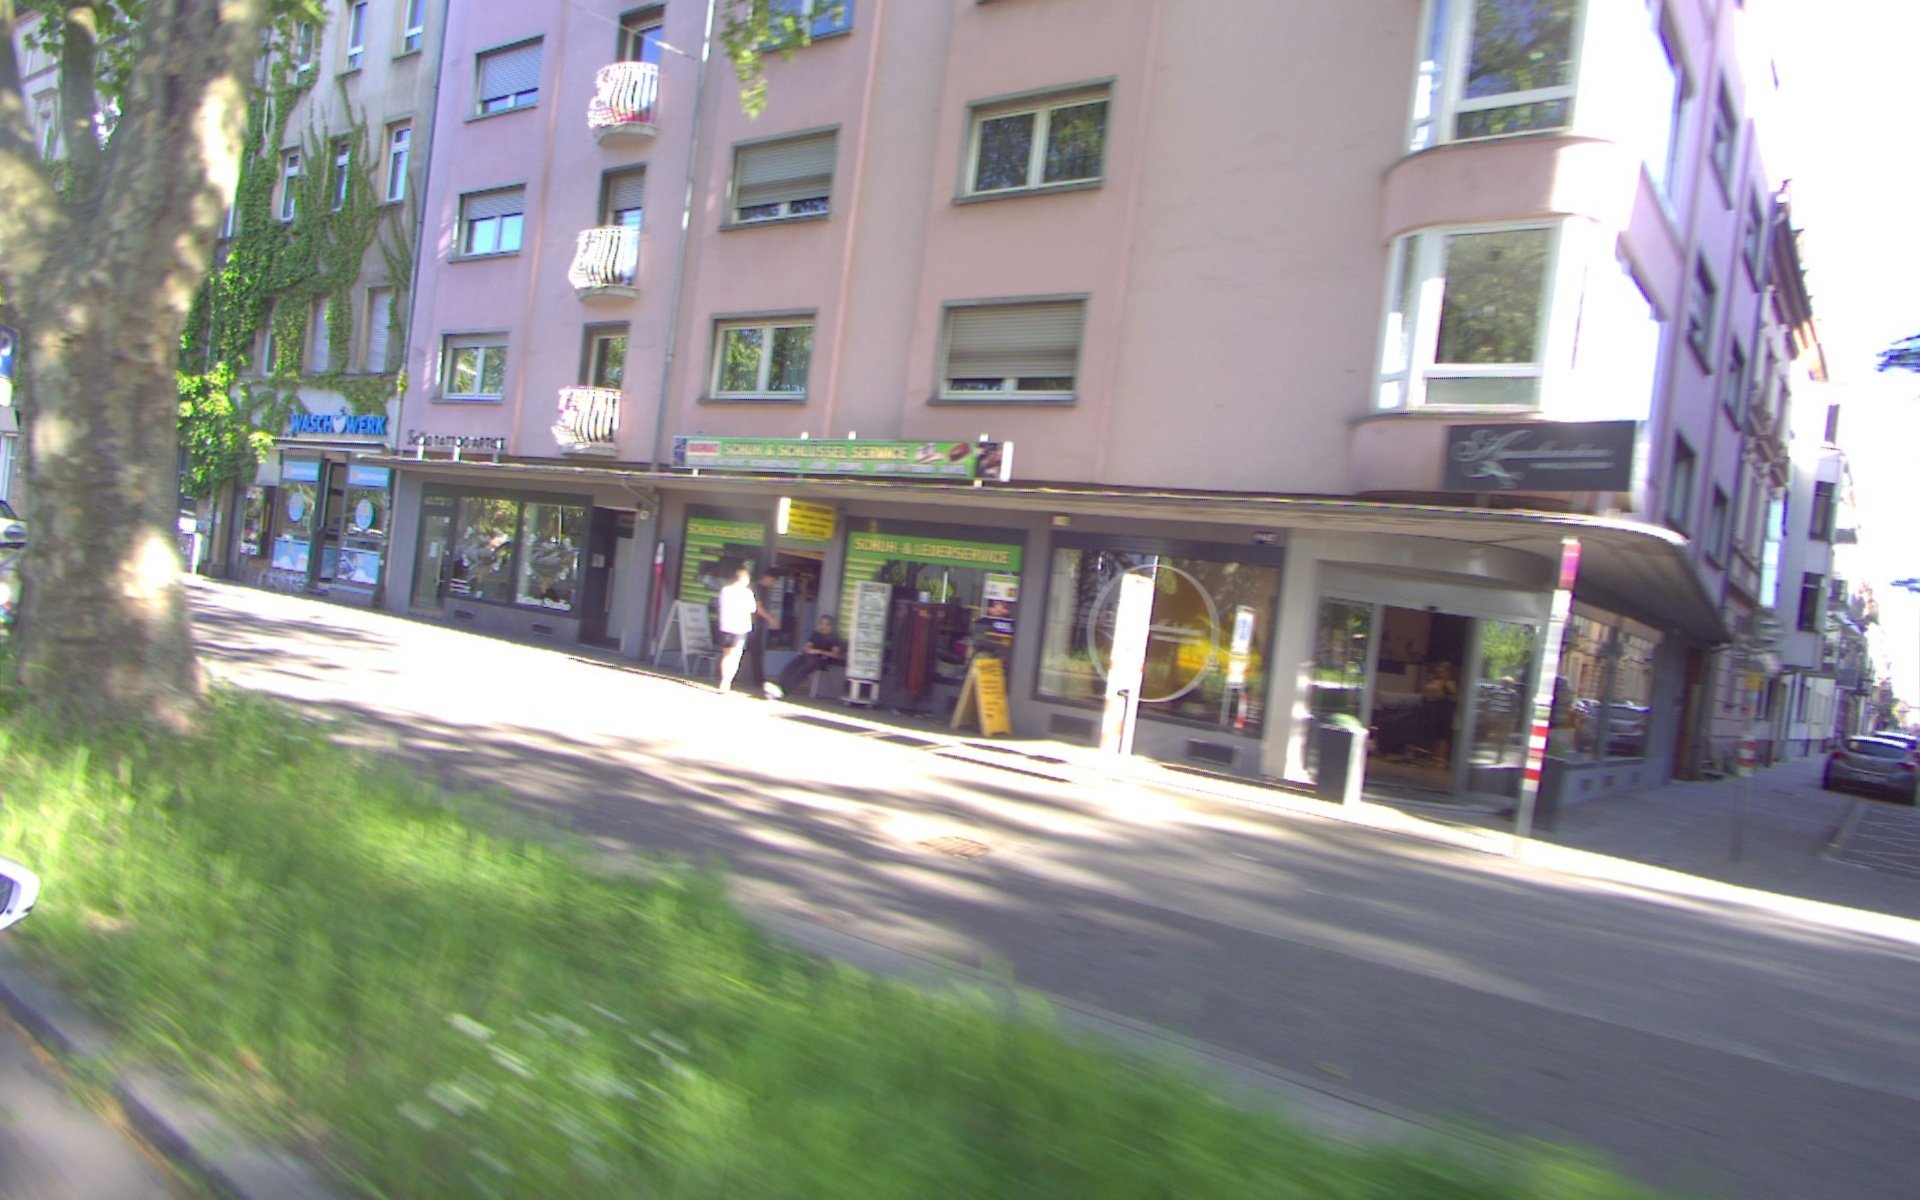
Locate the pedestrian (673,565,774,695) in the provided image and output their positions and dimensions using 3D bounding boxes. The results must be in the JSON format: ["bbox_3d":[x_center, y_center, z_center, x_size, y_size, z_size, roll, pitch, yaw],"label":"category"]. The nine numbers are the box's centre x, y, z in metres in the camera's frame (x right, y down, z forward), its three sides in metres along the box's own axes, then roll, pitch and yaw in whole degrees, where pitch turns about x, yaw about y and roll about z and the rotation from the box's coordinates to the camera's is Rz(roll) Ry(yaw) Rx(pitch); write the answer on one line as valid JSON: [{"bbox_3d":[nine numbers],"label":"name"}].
[{"bbox_3d":[-3.379,0.442,14.421,0.799,1.730,0.924,8,0,32],"label":"pedestrian"}]

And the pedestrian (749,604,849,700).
[{"bbox_3d":[-2.339,0.774,14.683,0.736,1.271,1.145,8,0,31],"label":"pedestrian"}]

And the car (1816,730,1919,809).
[{"bbox_3d":[23.578,4.296,25.956,1.973,1.548,4.259,8,0,43],"label":"car"}]

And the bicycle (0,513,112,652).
[{"bbox_3d":[-7.748,-0.173,8.378,1.426,1.003,0.589,8,1,33],"label":"bicycle"}]

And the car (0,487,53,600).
[{"bbox_3d":[-15.123,-1.027,14.591,3.604,1.531,1.687,7,-1,28],"label":"car"}]

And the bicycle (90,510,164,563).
[{"bbox_3d":[-22.409,-1.715,27.051,2.361,1.148,0.887,7,0,35],"label":"bicycle"}]

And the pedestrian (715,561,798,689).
[{"bbox_3d":[-3.117,0.387,15.428,0.798,1.843,0.686,8,1,30],"label":"pedestrian"}]

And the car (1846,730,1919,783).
[{"bbox_3d":[34.902,5.841,37.950,1.973,1.548,4.259,8,0,43],"label":"car"}]

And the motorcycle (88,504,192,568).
[{"bbox_3d":[-21.041,-1.620,25.842,1.866,1.282,0.558,9,-2,-14],"label":"motorcycle"}]
